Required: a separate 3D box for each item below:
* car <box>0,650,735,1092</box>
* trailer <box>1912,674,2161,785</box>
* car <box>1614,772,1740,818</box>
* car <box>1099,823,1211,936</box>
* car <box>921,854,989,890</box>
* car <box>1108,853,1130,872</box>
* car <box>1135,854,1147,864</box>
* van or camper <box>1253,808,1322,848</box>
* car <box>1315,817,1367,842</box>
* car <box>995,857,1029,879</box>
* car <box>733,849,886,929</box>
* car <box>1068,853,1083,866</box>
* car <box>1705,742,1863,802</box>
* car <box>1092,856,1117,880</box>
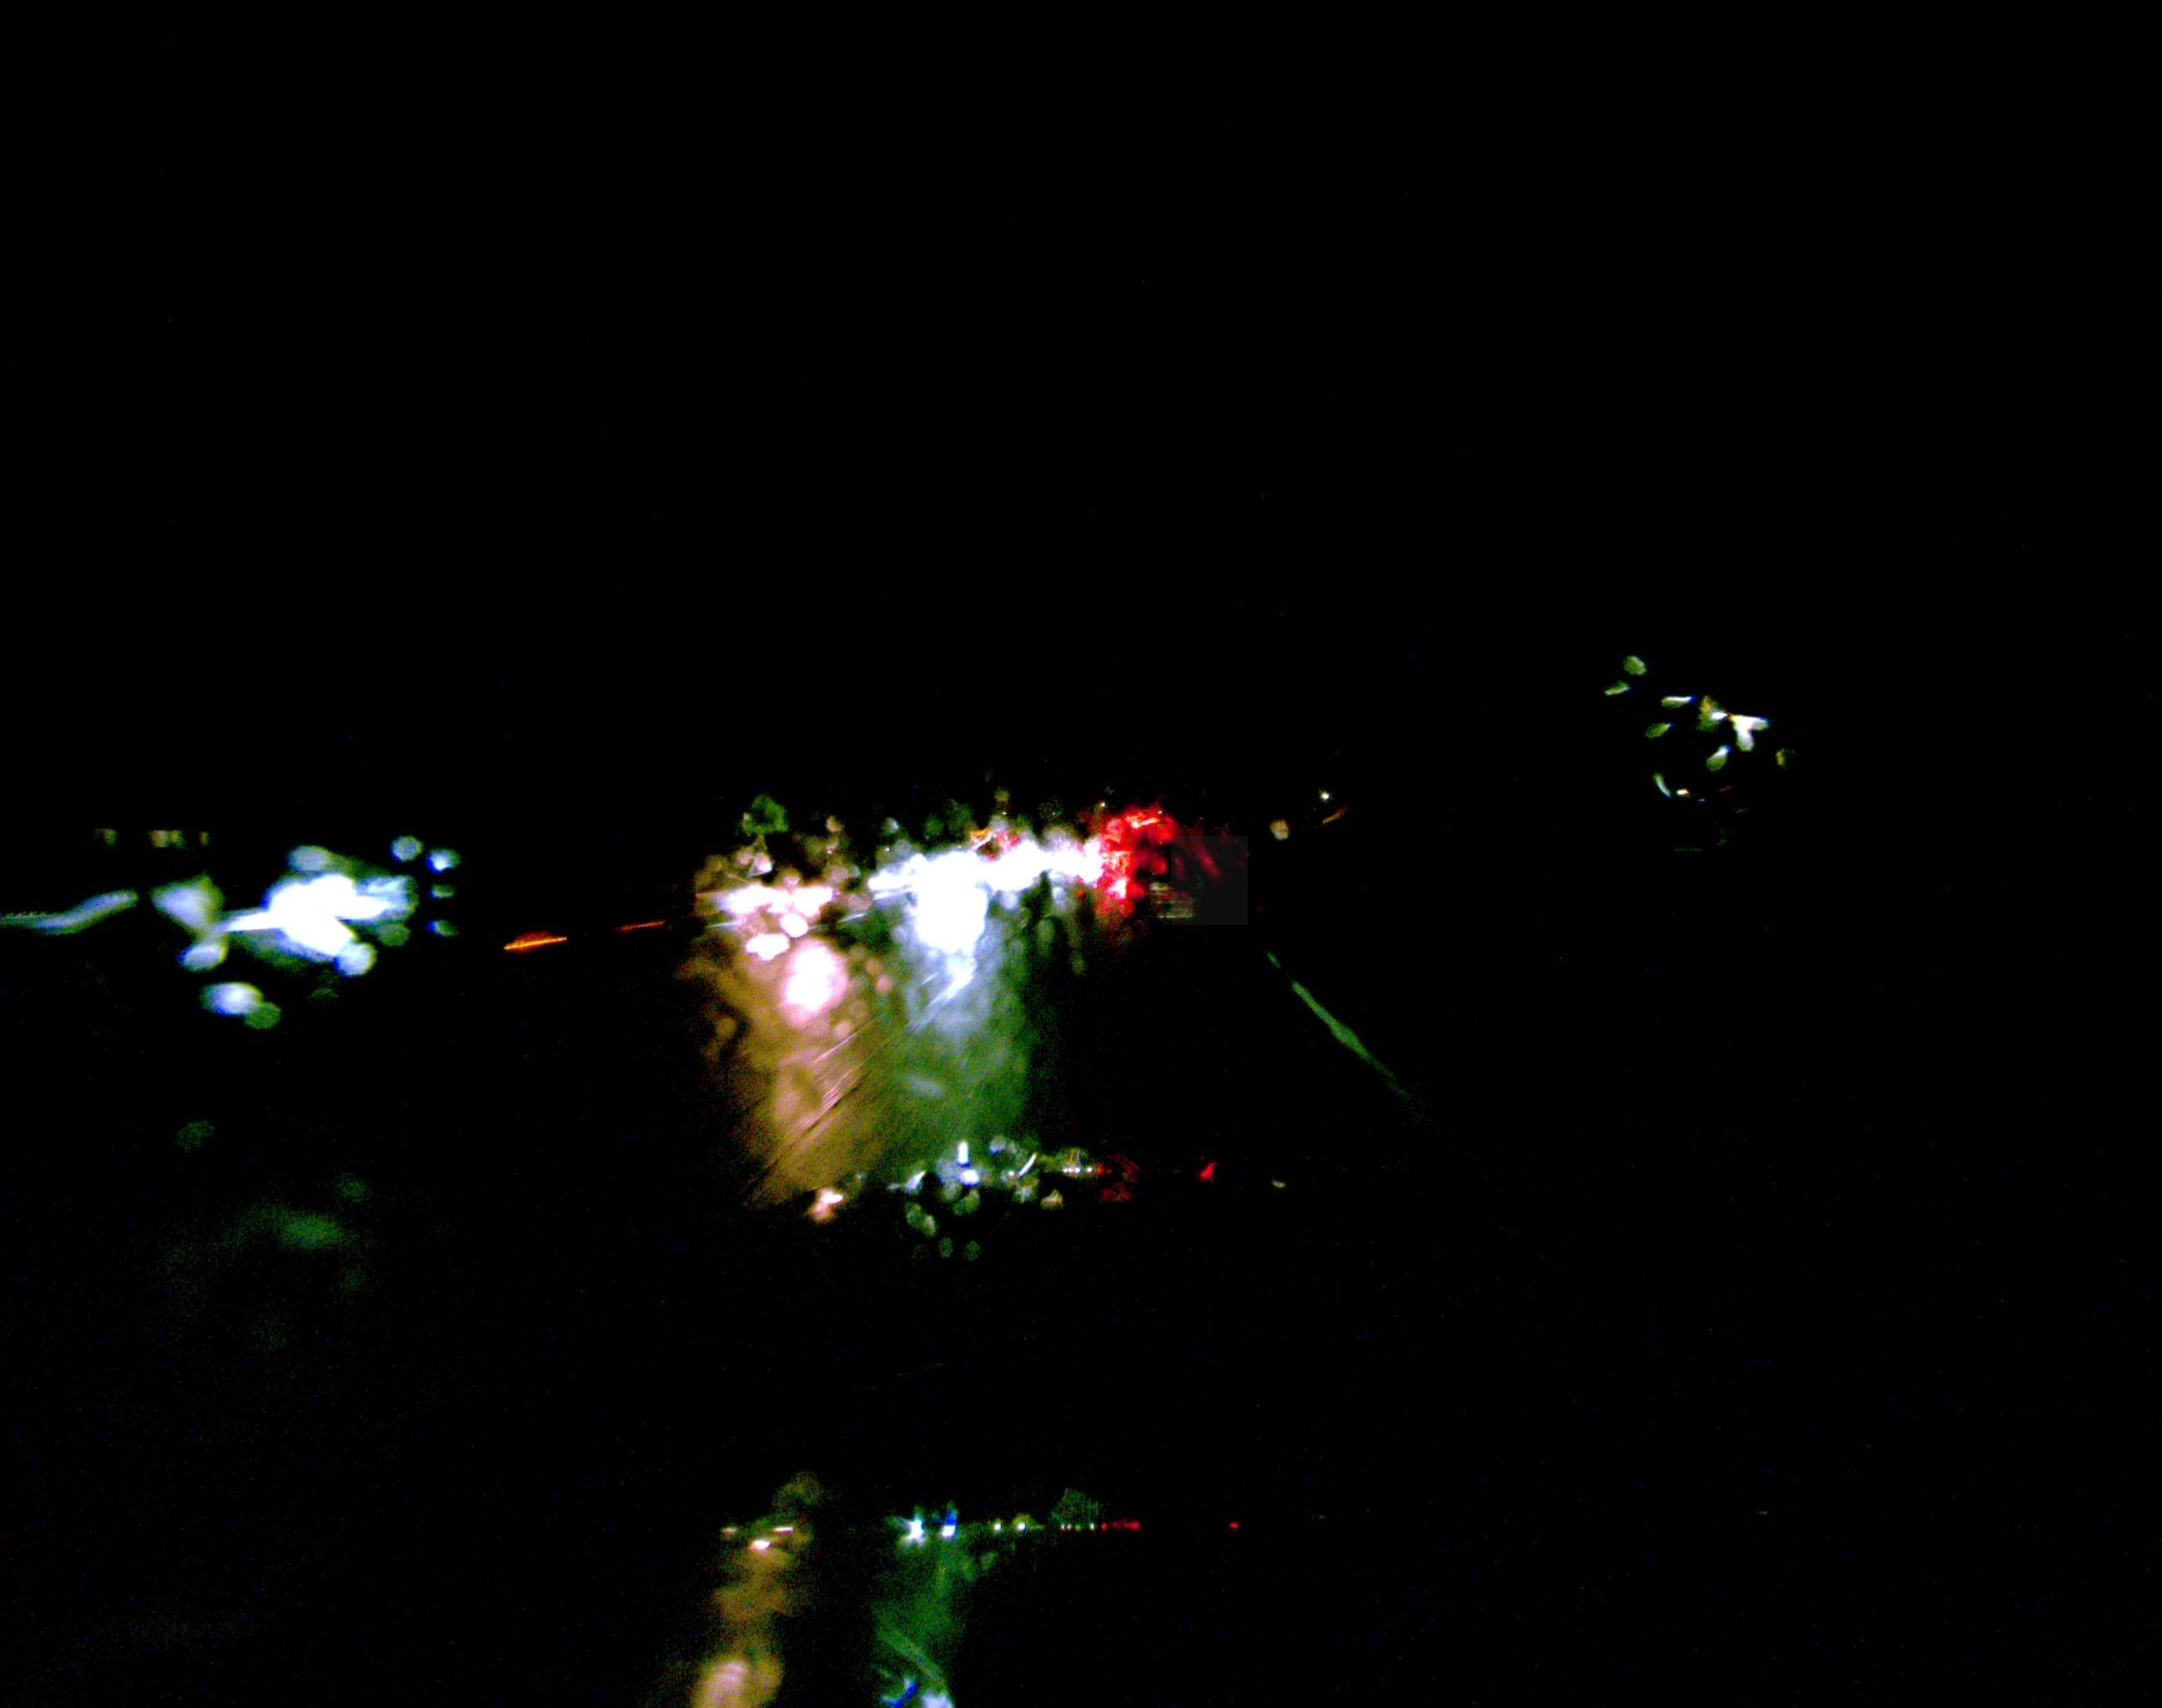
[{"bbox_3d":[-5.949,0.100,8.118,2.114,2.707,6.244,0,0,2],"label":"car"},{"bbox_3d":[25.479,-3.076,20.821,2.225,2.072,5.702,-1,0,-9],"label":"trailer"},{"bbox_3d":[23.387,-2.284,32.156,1.613,1.472,3.984,0,-1,-11],"label":"car"},{"bbox_3d":[1.435,0.436,16.271,1.934,1.972,4.223,0,0,4],"label":"car"},{"bbox_3d":[-5.287,0.712,34.837,2.070,1.449,4.993,0,0,1],"label":"car"},{"bbox_3d":[3.482,0.782,73.791,1.700,1.638,3.737,-2,0,6],"label":"car"},{"bbox_3d":[8.668,0.774,116.968,1.655,1.450,4.055,0,-1,5],"label":"car"},{"bbox_3d":[16.214,-2.001,64.264,2.584,2.908,6.328,-1,0,-14],"label":"van or camper"},{"bbox_3d":[18.333,-1.695,57.584,1.637,1.618,4.117,0,0,-12],"label":"car"},{"bbox_3d":[-4.764,0.951,57.152,1.911,1.444,4.546,0,0,1],"label":"car"},{"bbox_3d":[-5.716,0.669,17.698,1.872,1.537,3.989,0,0,1],"label":"car"},{"bbox_3d":[-0.660,0.614,96.365,1.689,1.434,4.293,0,0,0],"label":"car"},{"bbox_3d":[24.043,-2.745,28.061,1.613,1.640,3.984,0,-1,-11],"label":"car"},{"bbox_3d":[1.713,0.998,59.173,1.688,1.630,3.854,0,-1,2],"label":"car"}]
